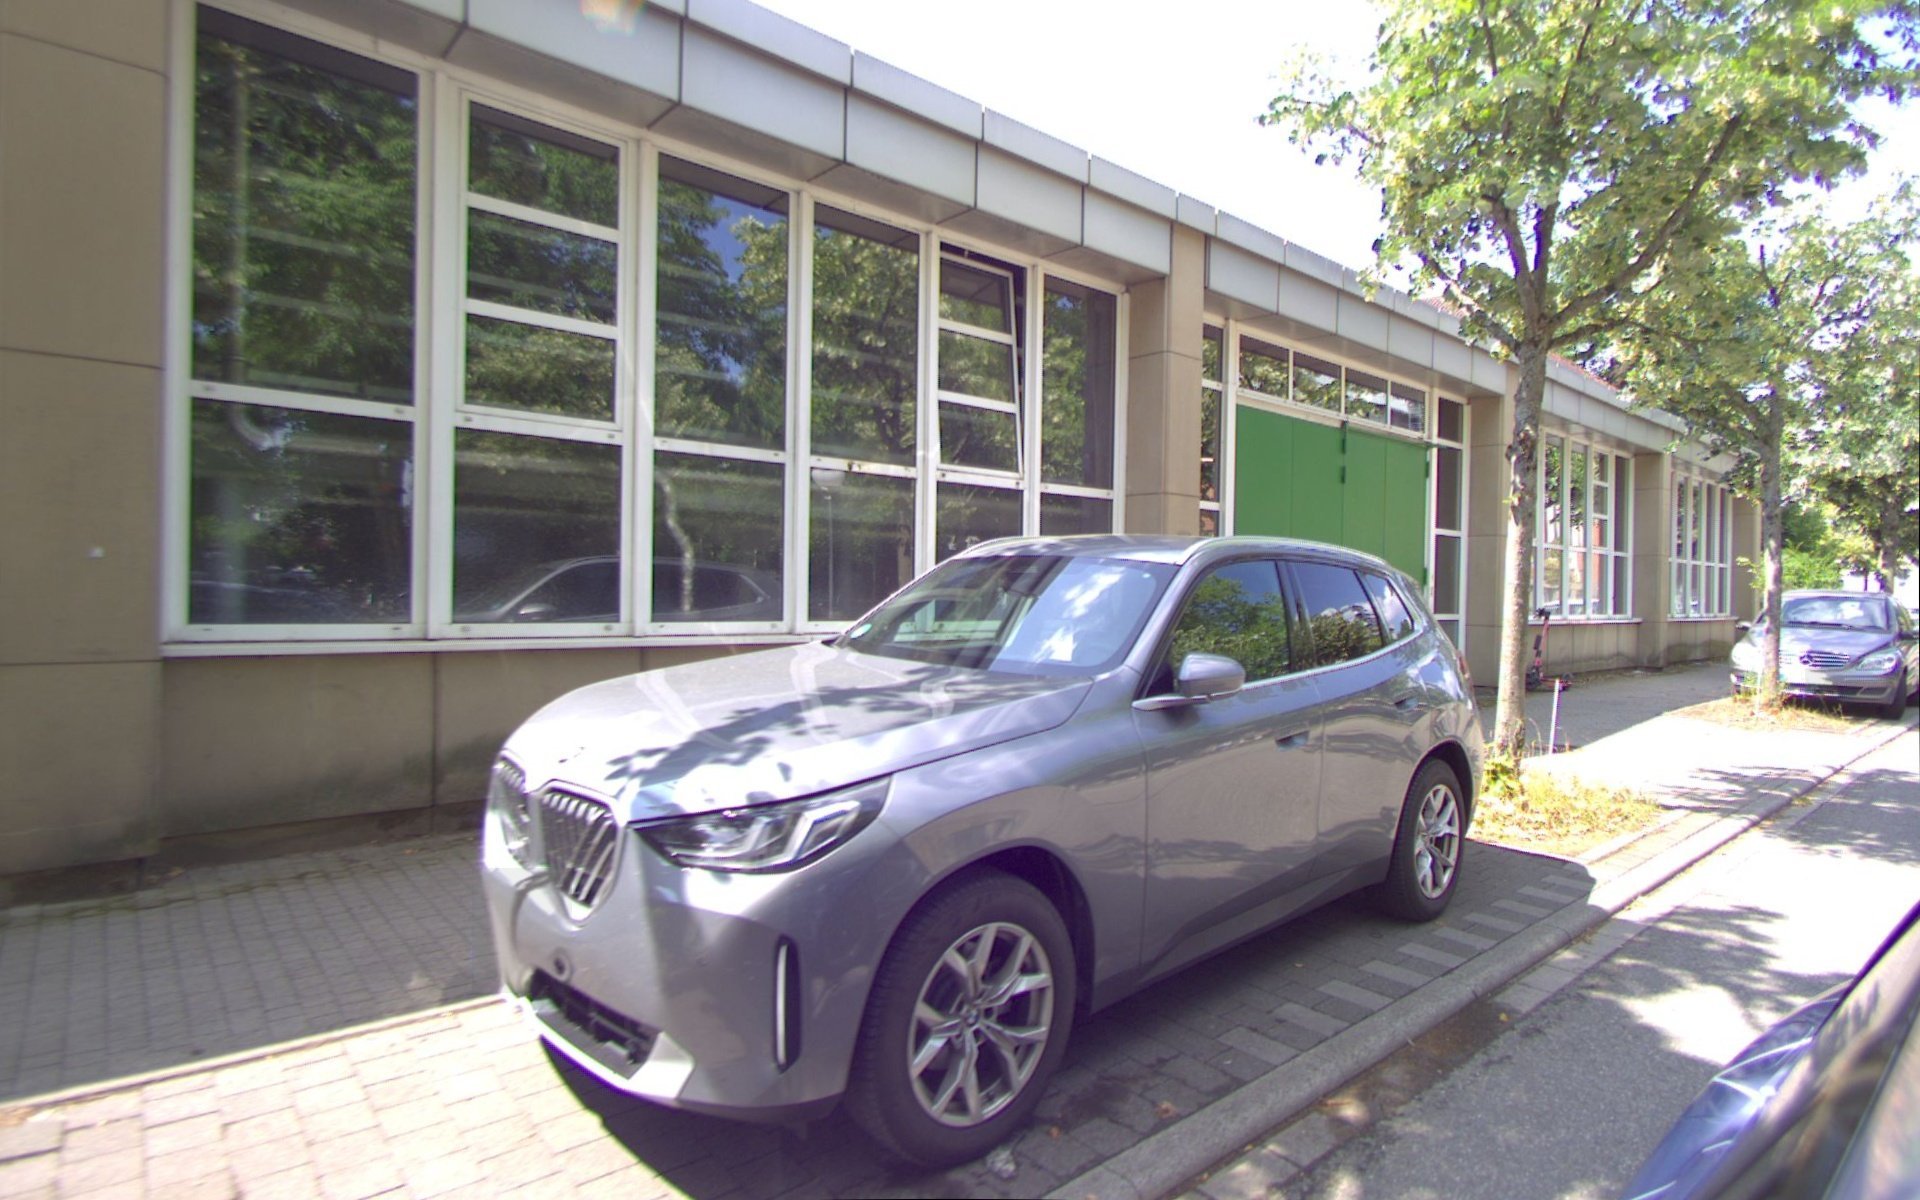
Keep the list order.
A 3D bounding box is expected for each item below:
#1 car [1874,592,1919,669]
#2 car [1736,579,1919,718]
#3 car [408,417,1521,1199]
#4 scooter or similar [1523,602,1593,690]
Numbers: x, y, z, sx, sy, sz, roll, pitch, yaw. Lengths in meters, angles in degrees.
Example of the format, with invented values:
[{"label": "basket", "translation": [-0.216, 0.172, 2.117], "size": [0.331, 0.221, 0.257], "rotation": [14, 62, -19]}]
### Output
[{"label": "car", "translation": [20.556, 0.622, 21.129], "size": [4.592, 1.485, 1.728], "rotation": [0, 2, -42]}, {"label": "car", "translation": [12.212, 0.559, 13.918], "size": [4.069, 1.593, 1.707], "rotation": [0, 2, -42]}, {"label": "car", "translation": [0.483, 0.496, 4.120], "size": [4.506, 1.685, 1.824], "rotation": [0, 0, -42]}, {"label": "scooter or similar", "translation": [8.886, 0.652, 15.020], "size": [1.467, 1.232, 0.416], "rotation": [0, 2, -41]}]
